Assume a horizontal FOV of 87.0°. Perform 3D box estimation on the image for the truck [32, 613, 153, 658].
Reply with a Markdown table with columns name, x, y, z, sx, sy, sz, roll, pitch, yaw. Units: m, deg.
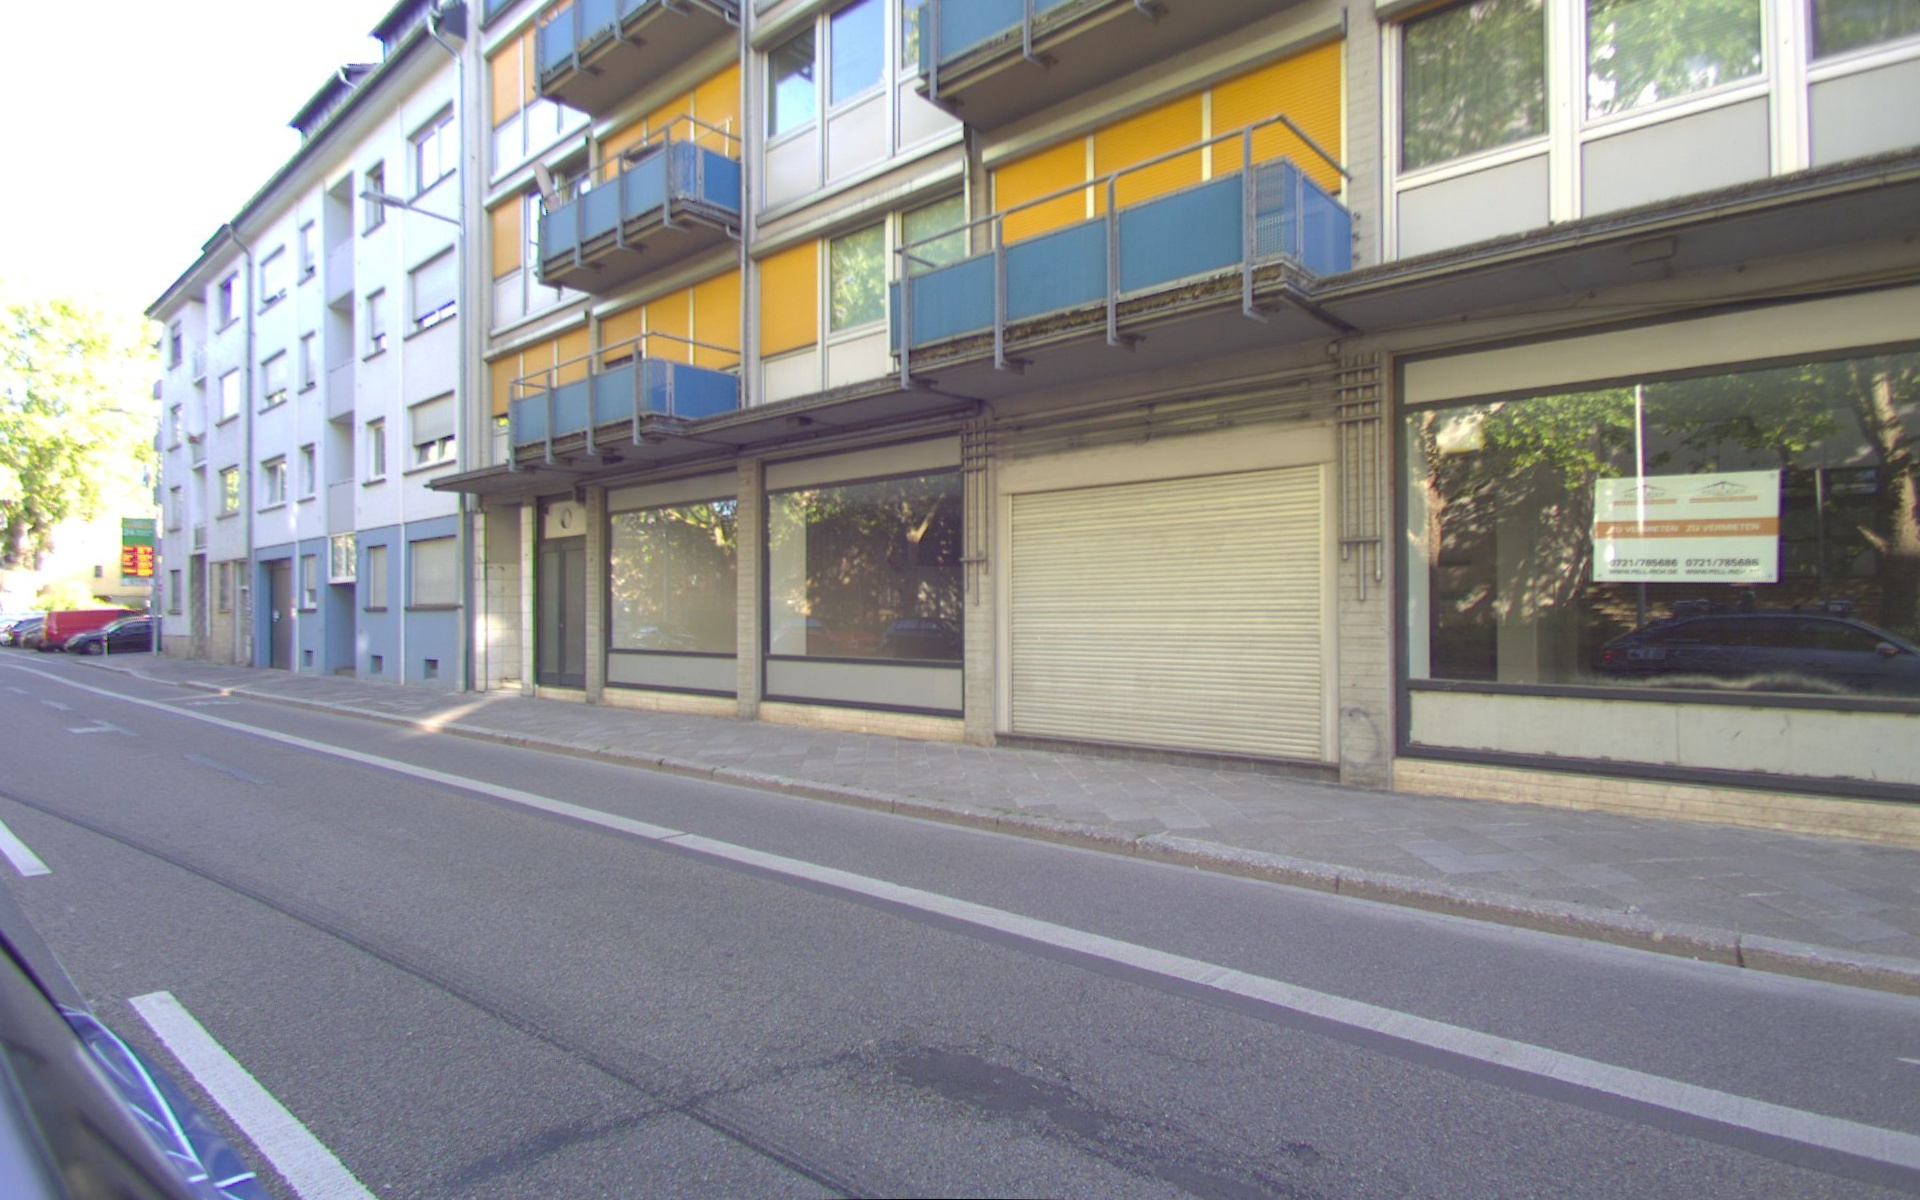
| name | x | y | z | sx | sy | sz | roll | pitch | yaw |
| --- | --- | --- | --- | --- | --- | --- | --- | --- | --- |
| truck | -40.713 | 1.641 | 47.566 | 1.999 | 1.939 | 4.040 | -1 | 0 | 40 |

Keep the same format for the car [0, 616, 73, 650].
| name | x | y | z | sx | sy | sz | roll | pitch | yaw |
| --- | --- | --- | --- | --- | --- | --- | --- | --- | --- |
| car | -59.337 | 2.085 | 64.396 | 2.000 | 2.052 | 4.180 | -1 | 0 | 43 |

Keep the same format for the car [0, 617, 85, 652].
| name | x | y | z | sx | sy | sz | roll | pitch | yaw |
| --- | --- | --- | --- | --- | --- | --- | --- | --- | --- |
| car | -56.053 | 2.057 | 61.466 | 2.000 | 1.971 | 4.180 | -1 | 0 | 43 |

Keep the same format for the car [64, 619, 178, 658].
| name | x | y | z | sx | sy | sz | roll | pitch | yaw |
| --- | --- | --- | --- | --- | --- | --- | --- | --- | --- |
| car | -38.039 | 1.723 | 45.937 | 1.657 | 1.583 | 3.762 | -1 | 0 | 41 |

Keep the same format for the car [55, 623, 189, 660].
| name | x | y | z | sx | sy | sz | roll | pitch | yaw |
| --- | --- | --- | --- | --- | --- | --- | --- | --- | --- |
| car | -36.489 | 1.786 | 44.154 | 1.657 | 1.417 | 4.269 | -1 | 0 | 40 |
